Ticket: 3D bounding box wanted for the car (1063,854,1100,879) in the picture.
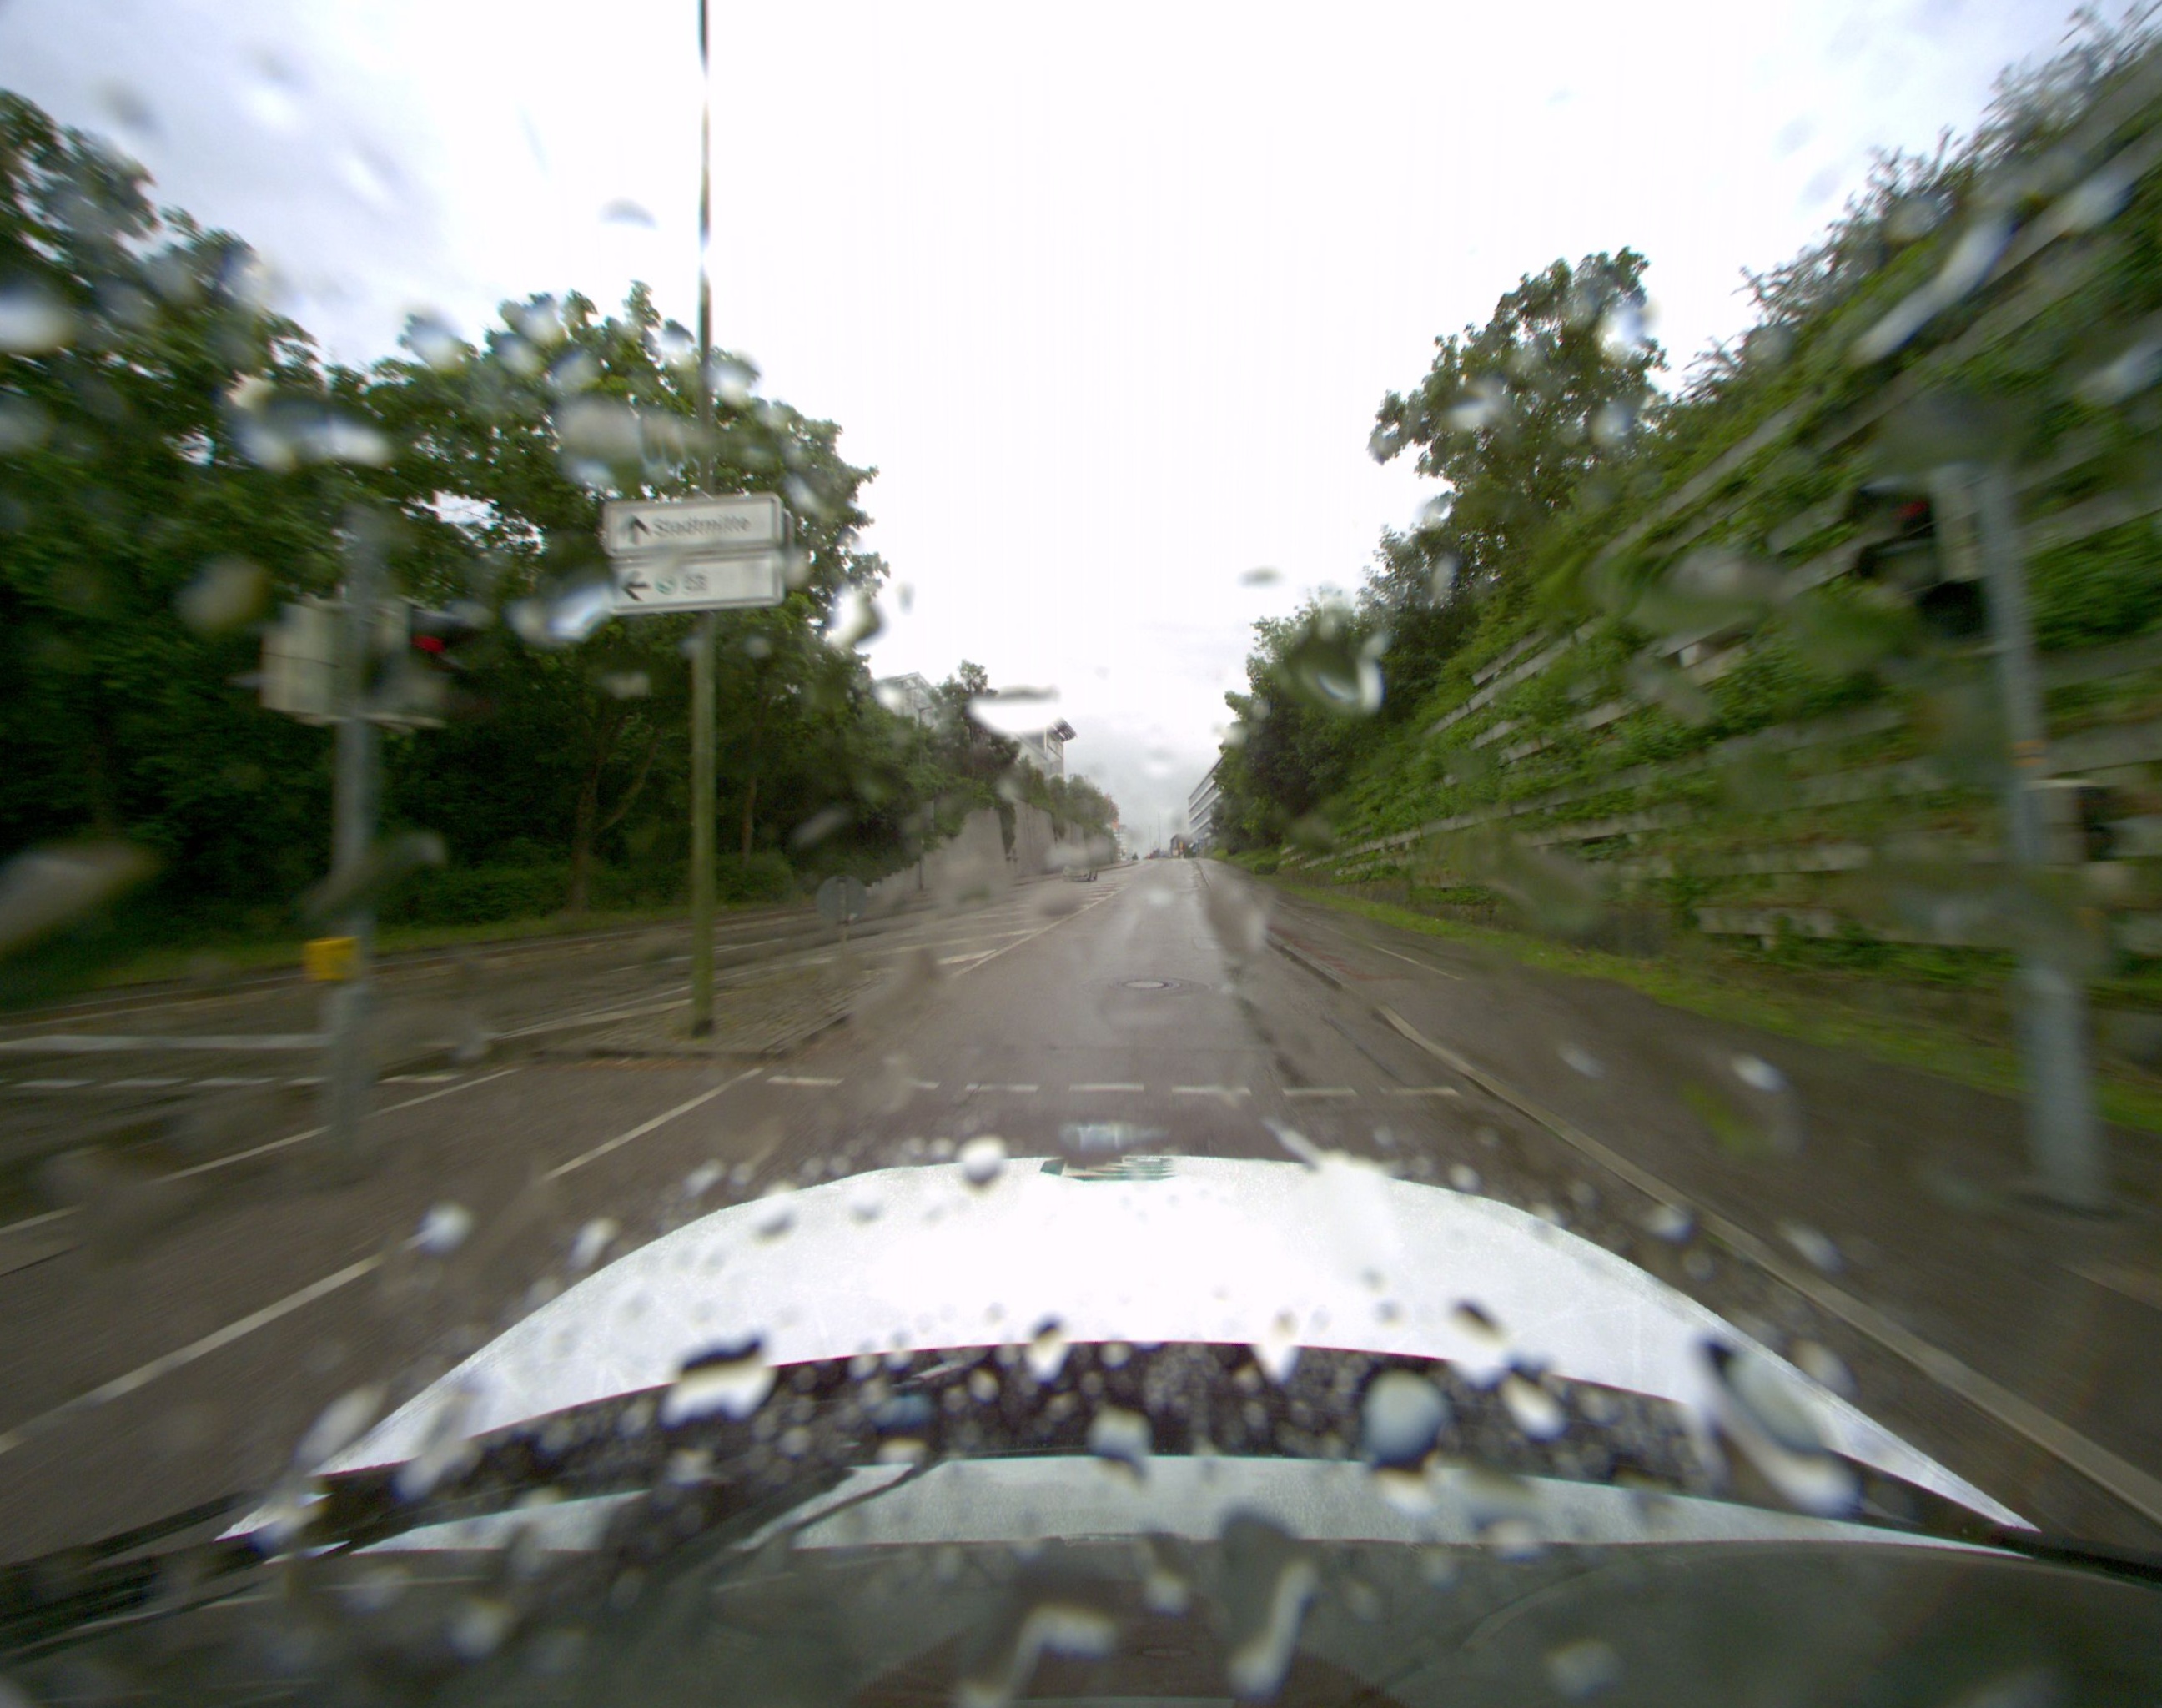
[{"bbox_3d":[0.047,0.755,48.801,1.503,1.448,3.827,-1,-2,11],"label":"car"}]
